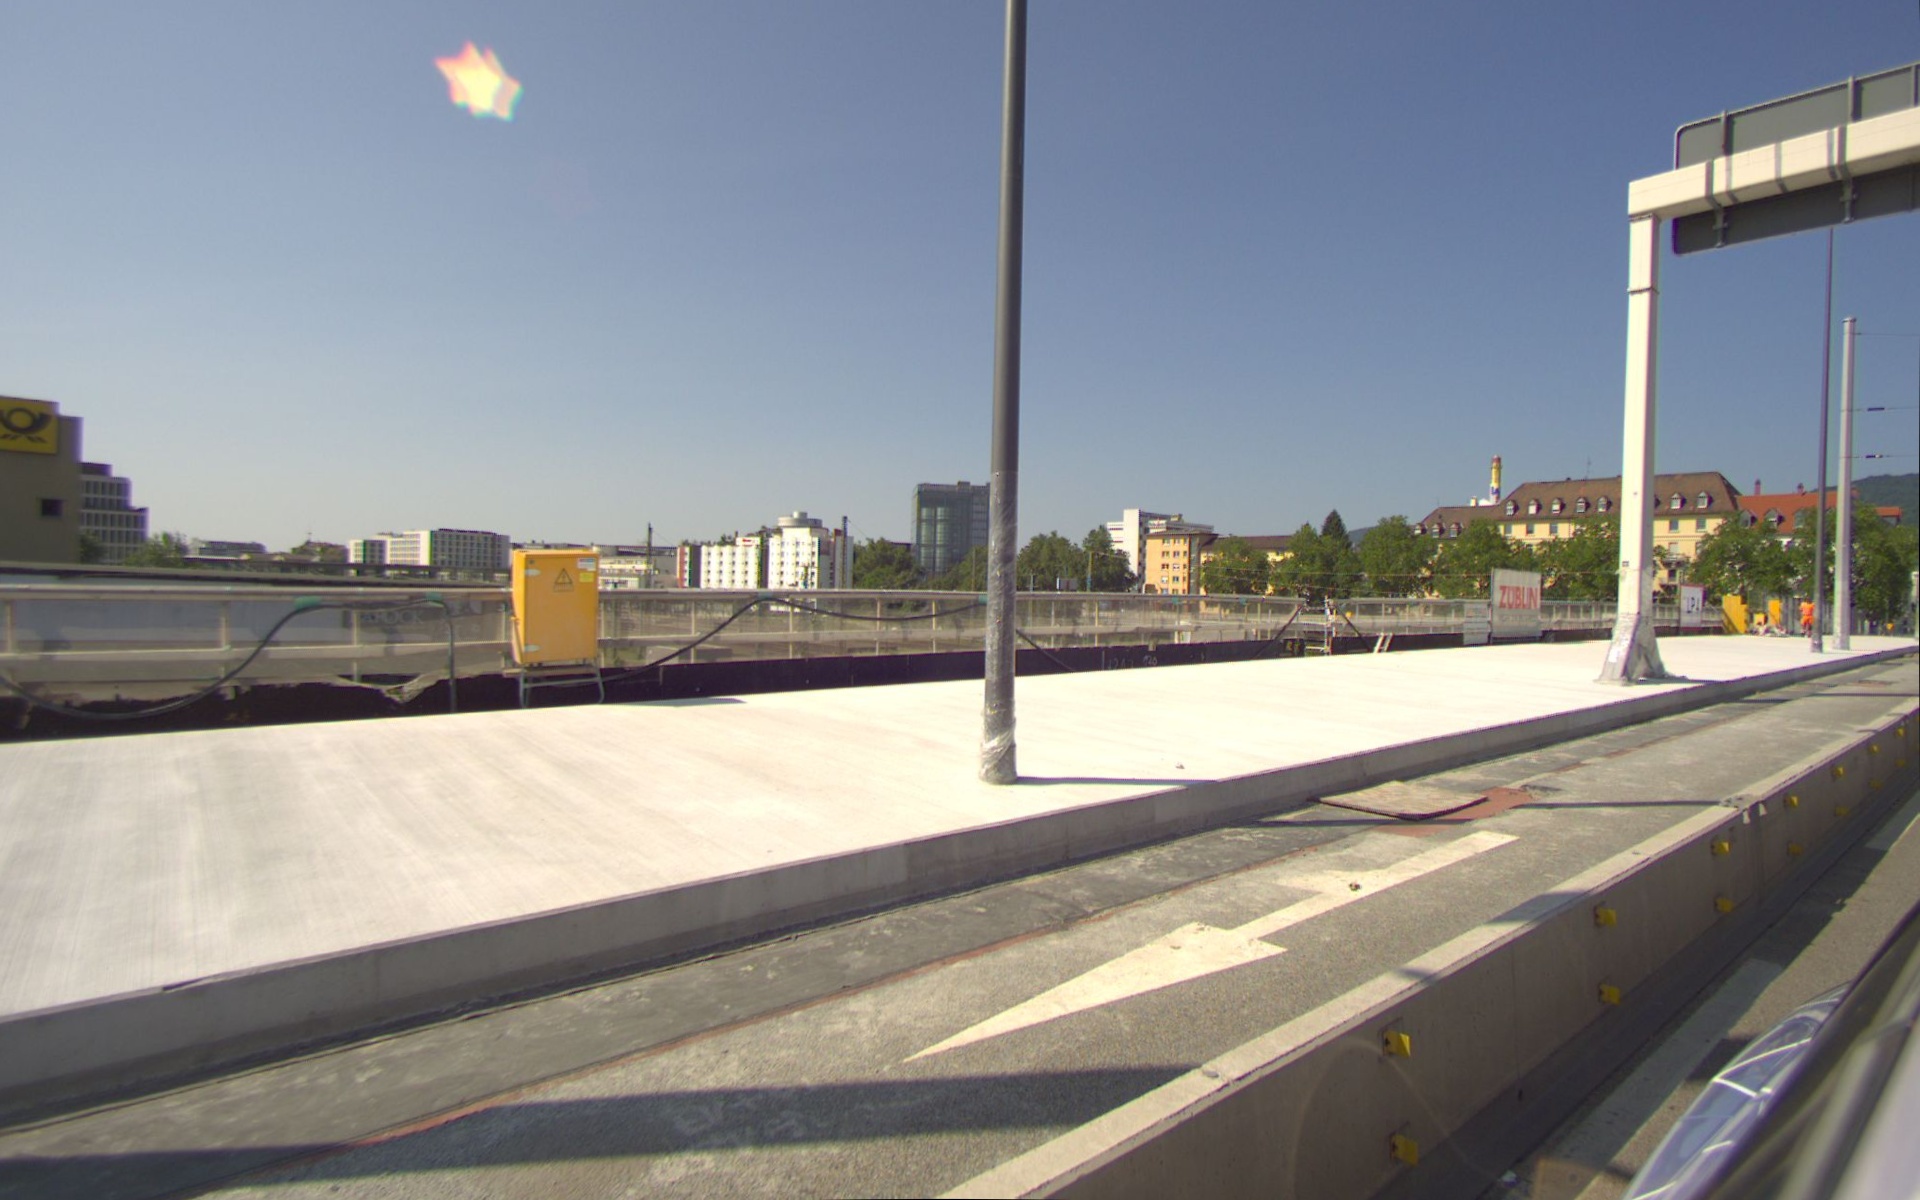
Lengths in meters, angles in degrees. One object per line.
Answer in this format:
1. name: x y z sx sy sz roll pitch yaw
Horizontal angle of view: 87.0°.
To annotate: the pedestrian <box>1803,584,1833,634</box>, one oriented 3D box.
1. pedestrian: 35.059 0.374 41.357 0.999 1.989 0.732 1 1 -42
